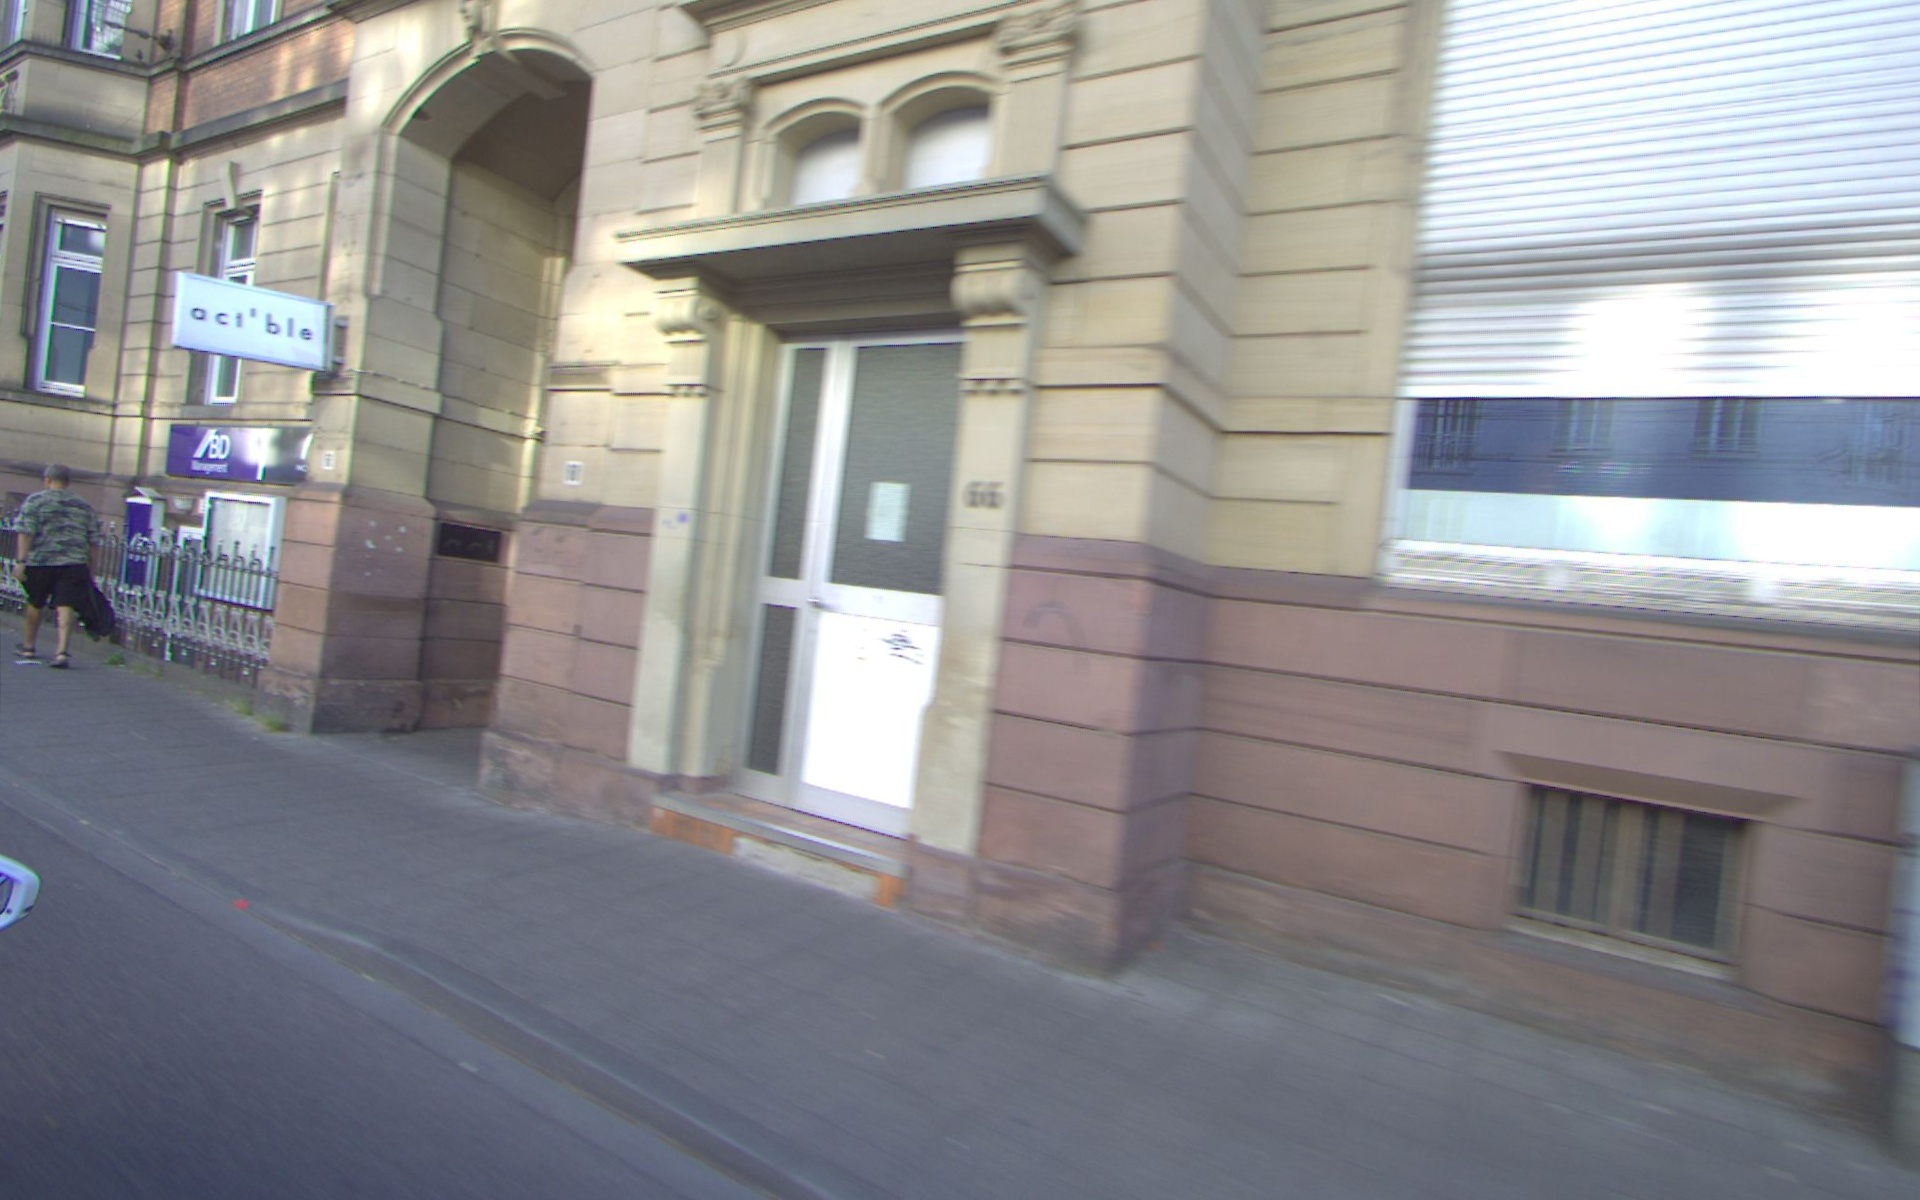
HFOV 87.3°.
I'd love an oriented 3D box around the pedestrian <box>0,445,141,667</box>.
[{"bbox_3d":[-8.008,-0.377,8.953,0.784,1.848,0.801,7,2,31],"label":"pedestrian"}]
